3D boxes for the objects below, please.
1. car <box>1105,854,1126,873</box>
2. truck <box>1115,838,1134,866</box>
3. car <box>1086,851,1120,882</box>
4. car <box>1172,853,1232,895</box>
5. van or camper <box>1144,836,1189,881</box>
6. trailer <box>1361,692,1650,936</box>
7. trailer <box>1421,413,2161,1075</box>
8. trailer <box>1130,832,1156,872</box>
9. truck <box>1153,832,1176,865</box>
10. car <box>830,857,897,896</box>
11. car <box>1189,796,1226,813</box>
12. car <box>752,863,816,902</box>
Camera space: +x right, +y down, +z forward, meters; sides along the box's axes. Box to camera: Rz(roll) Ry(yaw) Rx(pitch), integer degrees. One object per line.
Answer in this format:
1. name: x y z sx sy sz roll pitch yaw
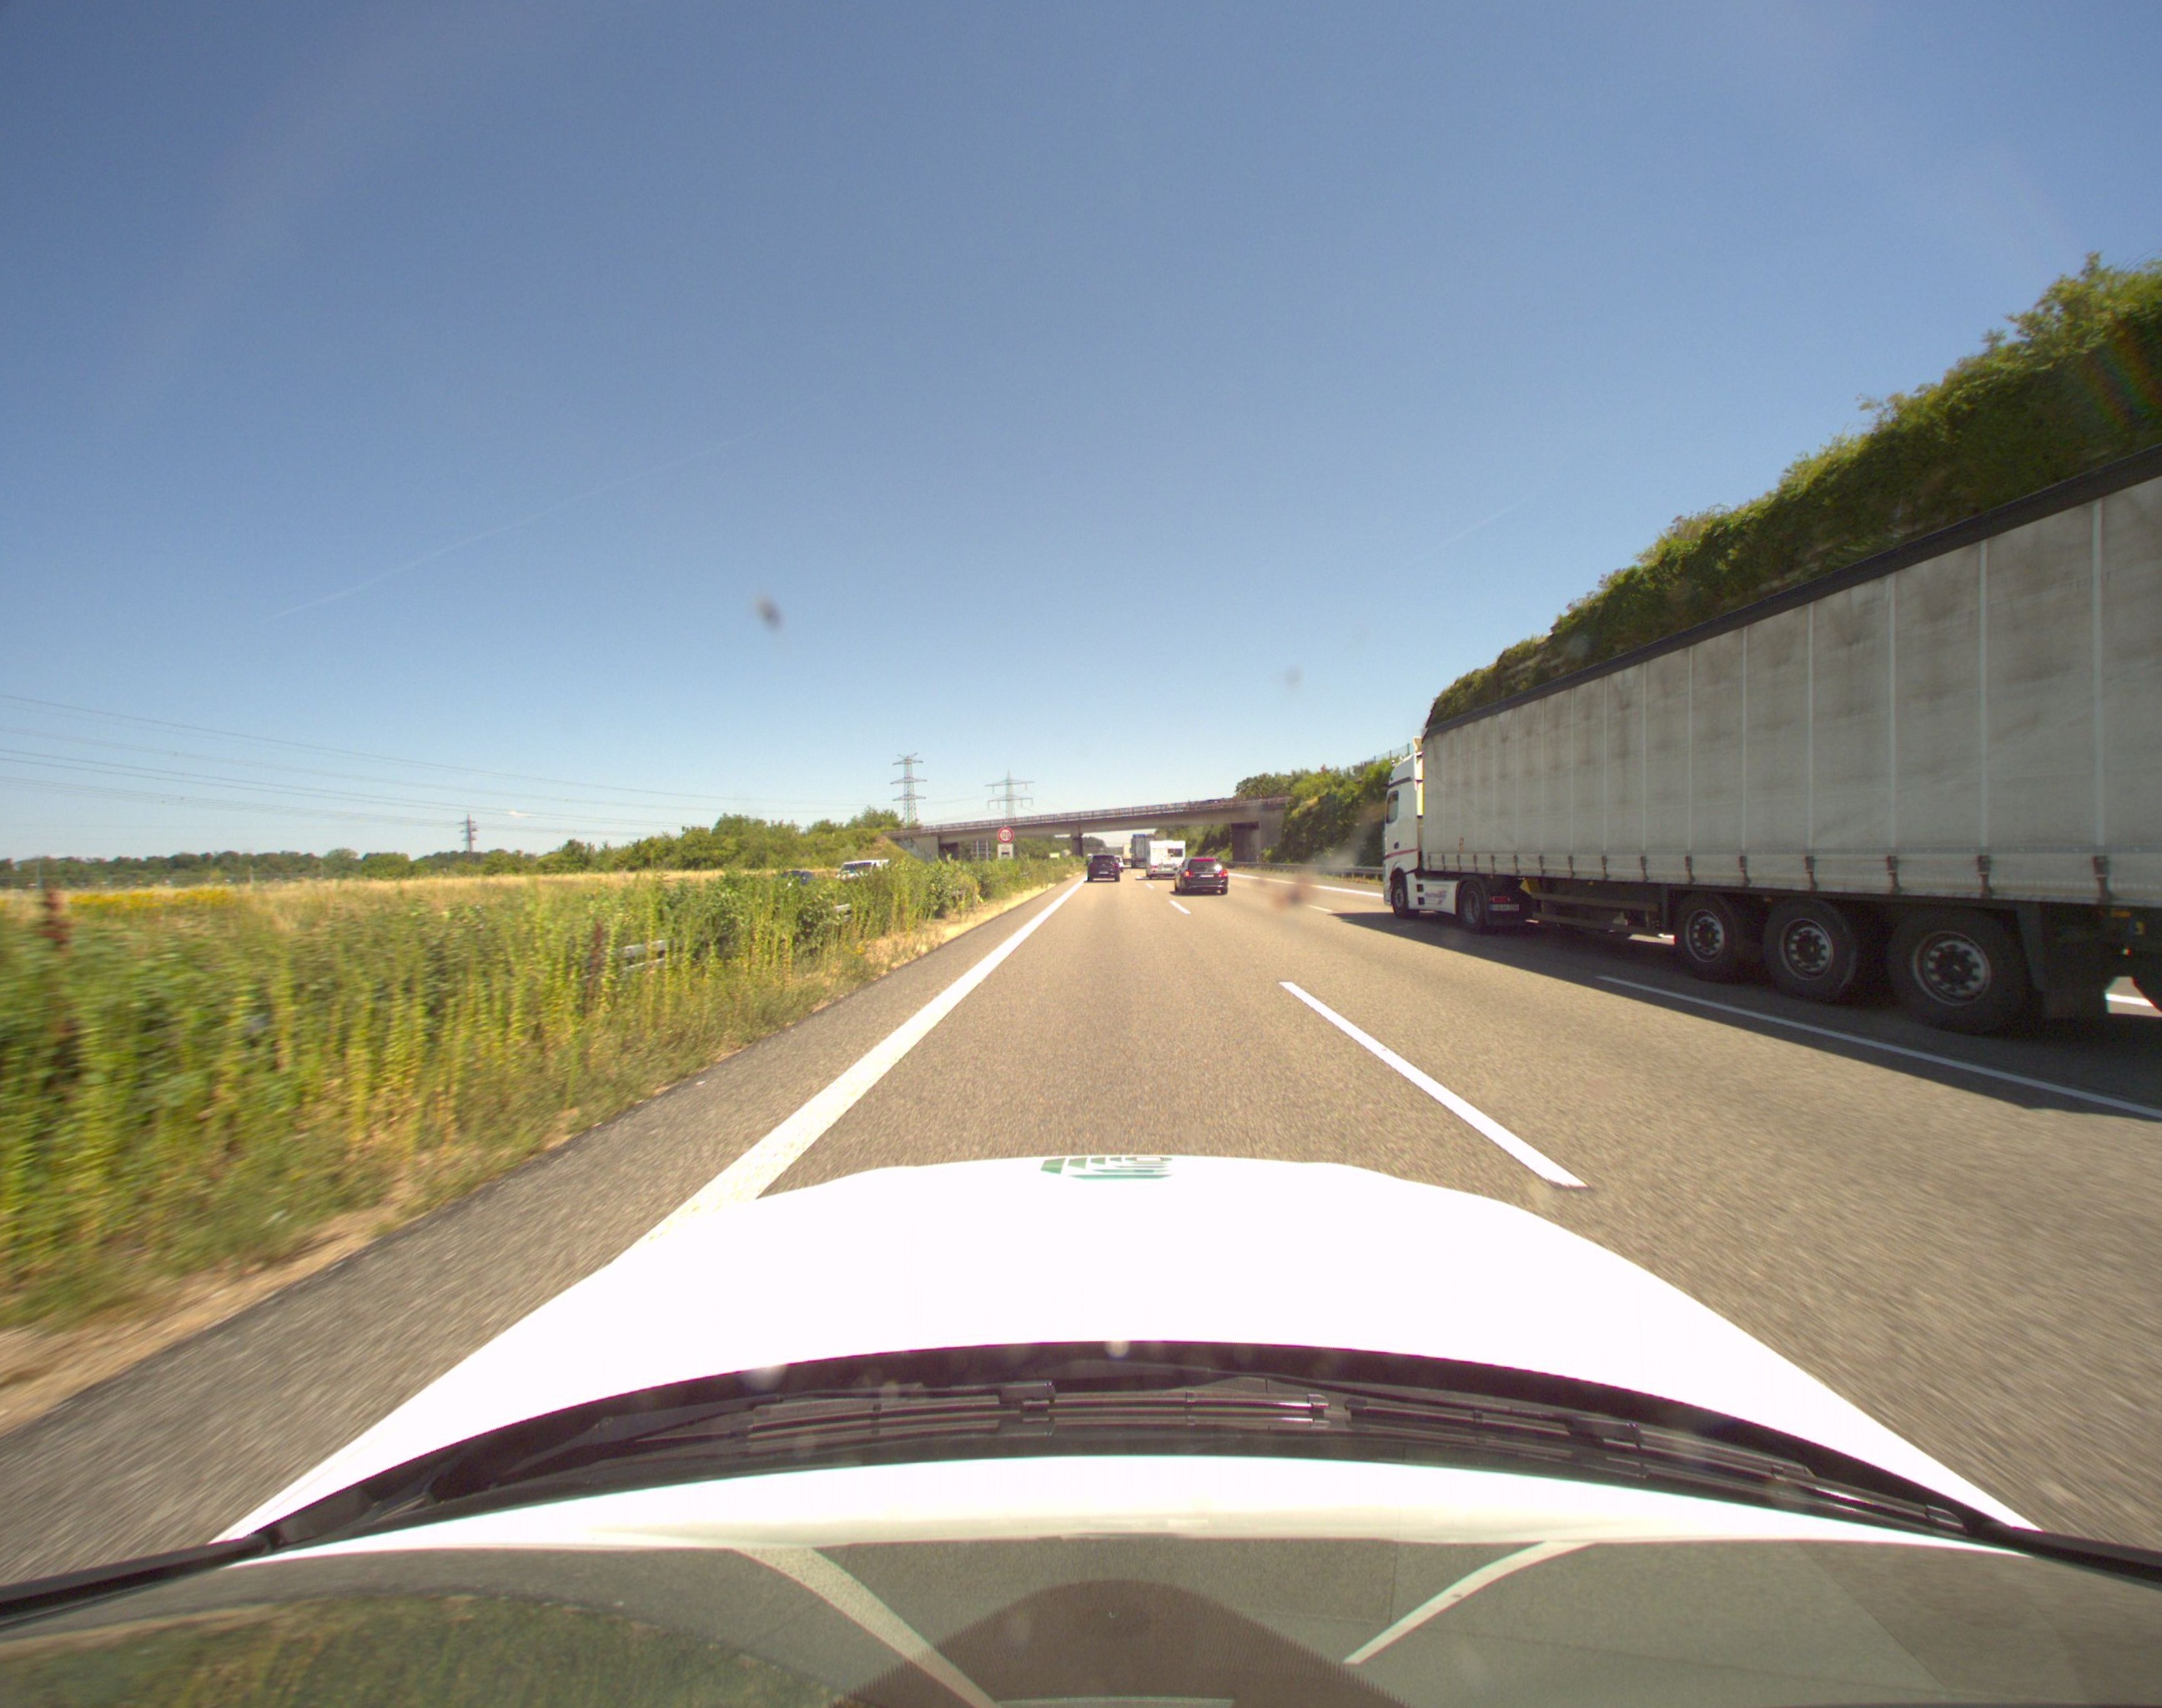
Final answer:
1. car: 3.338 0.923 80.548 1.954 1.814 4.450 -2 0 1
2. truck: 8.336 -0.374 156.964 3.498 5.166 10.265 -1 0 3
3. car: 1.354 0.752 50.317 1.986 1.772 4.001 -2 0 1
4. car: 4.787 0.758 32.847 1.834 1.505 4.739 -1 0 1
5. van or camper: 5.598 0.288 54.168 2.430 2.675 6.351 -2 0 1
6. trailer: 8.417 -0.661 17.321 2.703 4.102 6.792 -2 0 2
7. trailer: 8.217 -0.679 10.137 2.718 4.102 13.193 -2 0 2
8. trailer: 7.969 -0.135 106.292 3.074 4.885 12.265 0 -1 3
9. truck: 12.927 -0.815 127.248 3.074 4.885 8.803 0 -1 3
10. car: -11.969 1.185 45.302 1.989 1.986 5.840 -1 0 1
11. car: 15.801 -6.122 101.781 3.948 1.651 2.013 -4 -3 34
12. car: -16.285 1.515 44.883 1.889 1.978 3.988 -1 0 1
